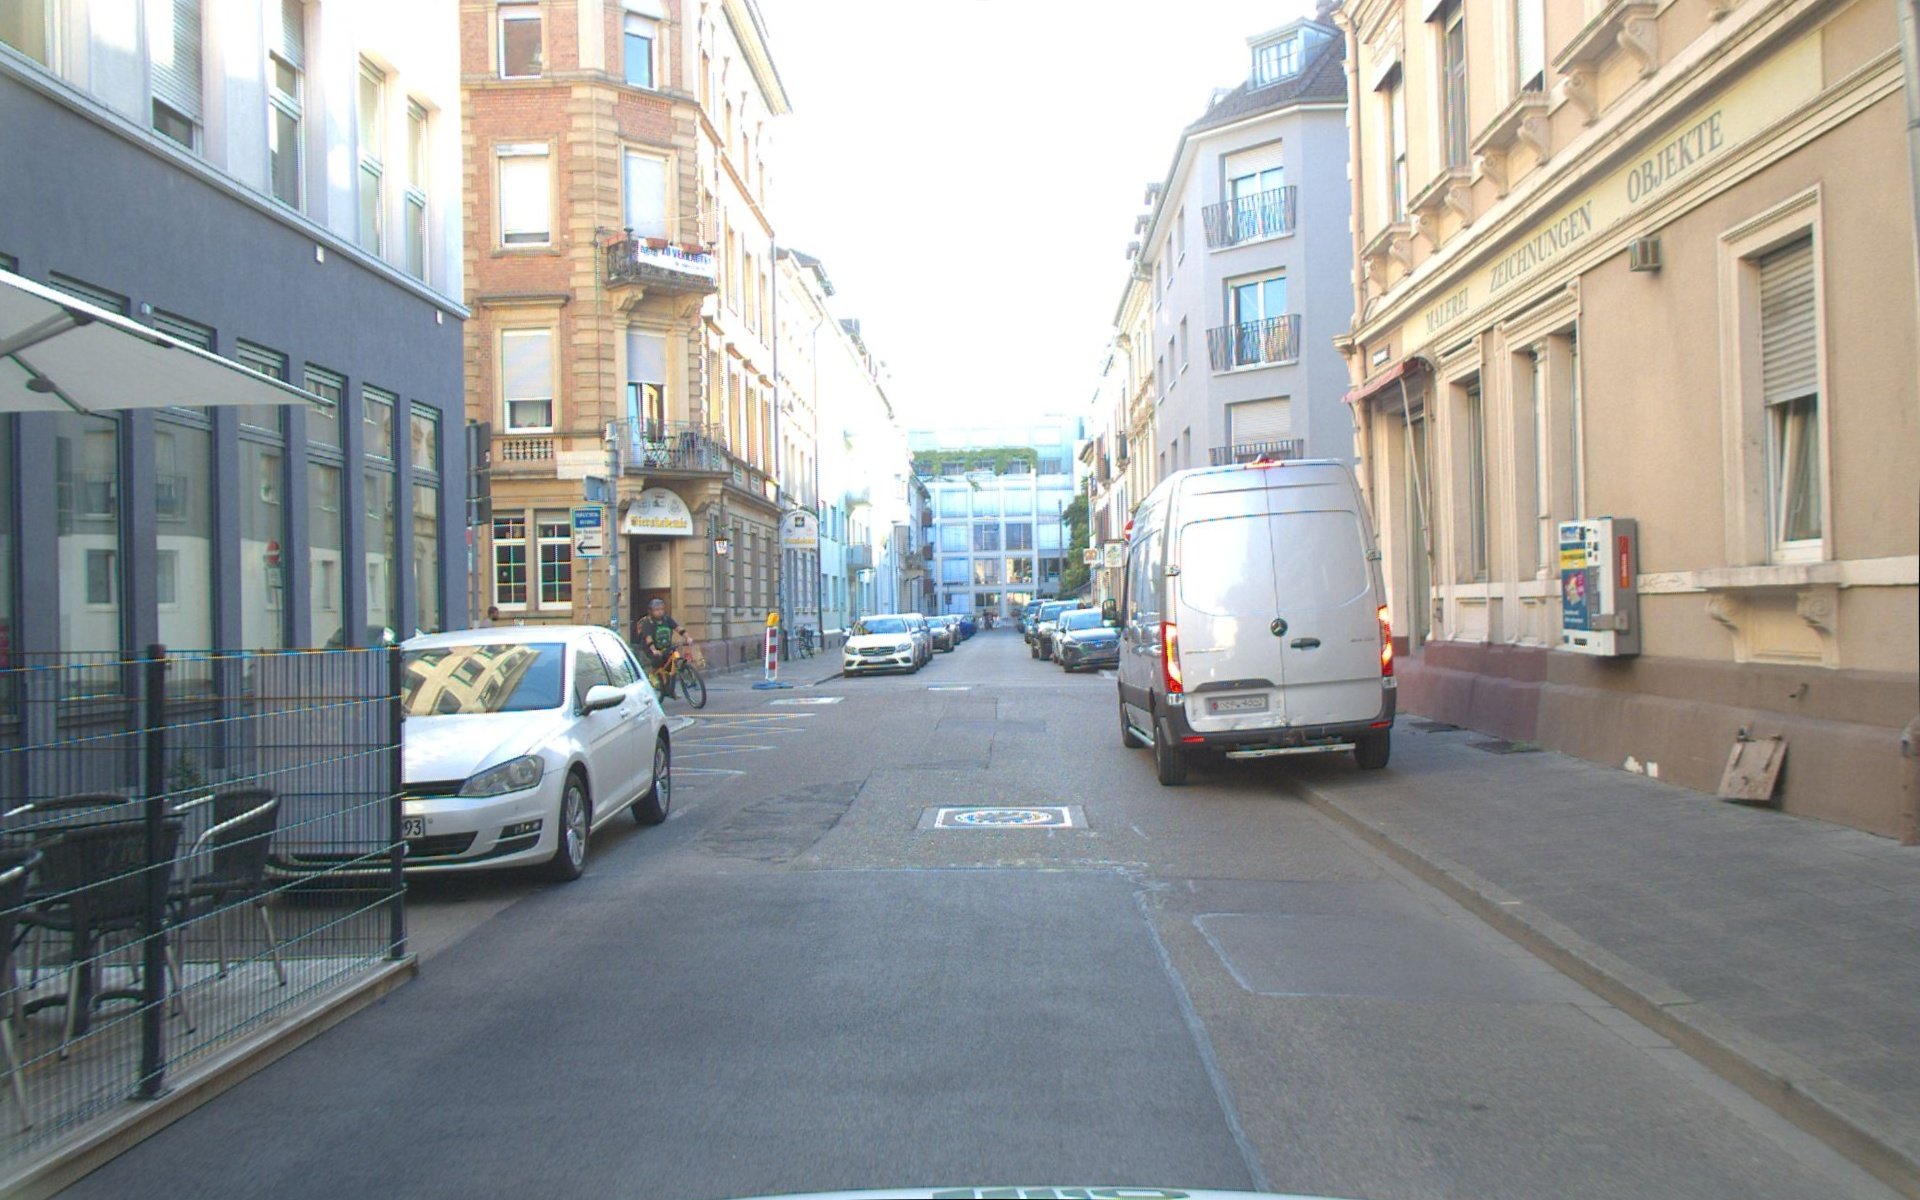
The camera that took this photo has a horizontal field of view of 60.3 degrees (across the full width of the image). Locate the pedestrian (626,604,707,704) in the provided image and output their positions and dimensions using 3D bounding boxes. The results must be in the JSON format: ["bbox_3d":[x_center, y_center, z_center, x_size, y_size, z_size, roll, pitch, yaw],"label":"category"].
[{"bbox_3d":[-4.755,0.857,26.792,0.826,1.572,1.065,0,-1,-45],"label":"pedestrian"}]

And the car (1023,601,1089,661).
[{"bbox_3d":[3.011,0.966,52.443,1.855,1.815,4.000,-1,-1,0],"label":"car"}]

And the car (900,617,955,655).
[{"bbox_3d":[-1.253,1.396,65.051,1.952,1.378,4.429,-1,-1,1],"label":"car"}]

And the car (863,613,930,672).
[{"bbox_3d":[-1.804,1.197,47.798,1.591,1.604,3.755,-1,-1,3],"label":"car"}]

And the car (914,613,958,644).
[{"bbox_3d":[-1.185,1.419,82.829,2.129,1.443,3.999,-1,-1,-1],"label":"car"}]

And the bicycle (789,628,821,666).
[{"bbox_3d":[-5.007,1.497,53.608,0.722,1.181,2.461,-1,-1,1],"label":"bicycle"}]

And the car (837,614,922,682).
[{"bbox_3d":[-1.998,1.184,42.192,1.953,1.592,4.505,-1,-1,0],"label":"car"}]

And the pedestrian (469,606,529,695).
[{"bbox_3d":[-9.447,1.020,33.927,0.993,1.773,0.983,-1,-1,-5],"label":"pedestrian"}]

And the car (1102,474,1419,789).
[{"bbox_3d":[2.681,0.280,16.404,2.229,2.482,6.205,-1,-1,3],"label":"car"}]

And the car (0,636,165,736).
[{"bbox_3d":[-15.787,1.426,27.622,4.019,1.551,2.015,-1,-1,2],"label":"car"}]

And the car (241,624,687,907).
[{"bbox_3d":[-2.922,0.897,10.607,1.623,1.439,3.882,-1,-1,1],"label":"car"}]

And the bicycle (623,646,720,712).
[{"bbox_3d":[-4.701,1.262,26.863,0.536,1.025,1.948,0,-1,-44],"label":"bicycle"}]

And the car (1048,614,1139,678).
[{"bbox_3d":[3.259,1.106,40.940,1.898,1.396,3.788,-3,0,0],"label":"car"}]

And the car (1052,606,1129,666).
[{"bbox_3d":[3.662,1.004,47.009,1.923,1.584,3.889,-1,-1,1],"label":"car"}]

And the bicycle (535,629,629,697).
[{"bbox_3d":[-7.666,1.269,33.590,1.722,1.297,0.660,-1,3,-2],"label":"bicycle"}]
